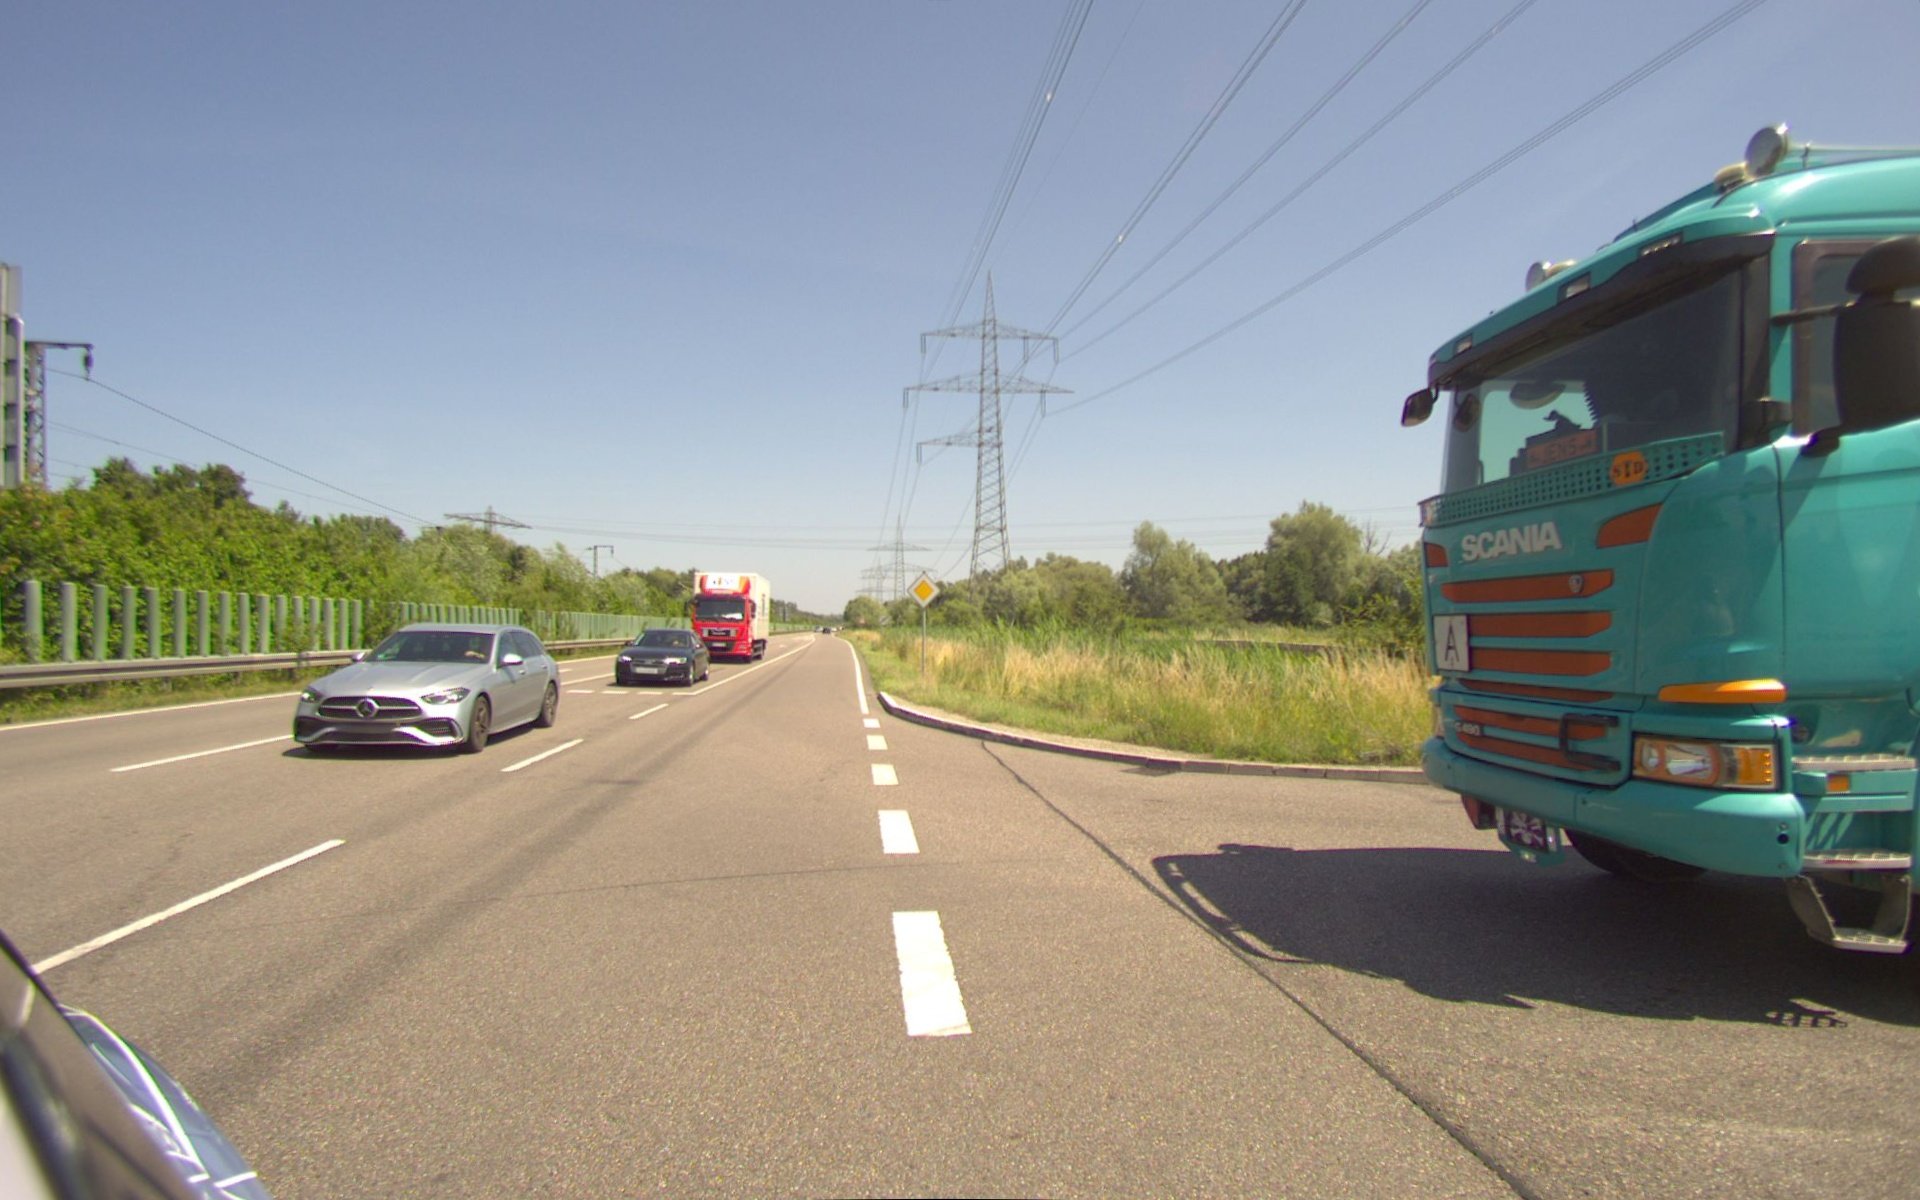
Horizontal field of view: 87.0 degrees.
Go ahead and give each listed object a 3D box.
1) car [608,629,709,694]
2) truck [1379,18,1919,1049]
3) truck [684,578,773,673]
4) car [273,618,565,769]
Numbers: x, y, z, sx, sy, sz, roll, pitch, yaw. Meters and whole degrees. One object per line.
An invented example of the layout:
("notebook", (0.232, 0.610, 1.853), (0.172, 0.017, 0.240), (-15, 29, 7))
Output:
("car", (-7.489, 1.493, 25.509), (1.797, 1.451, 4.155), (2, -2, -8))
("truck", (6.352, -0.293, 4.783), (7.501, 3.498, 2.611), (-1, -2, -1))
("truck", (-9.727, 0.982, 43.473), (2.683, 3.606, 9.570), (-1, 0, -7))
("car", (-6.350, 1.030, 12.472), (1.797, 1.498, 4.155), (2, -2, -8))
